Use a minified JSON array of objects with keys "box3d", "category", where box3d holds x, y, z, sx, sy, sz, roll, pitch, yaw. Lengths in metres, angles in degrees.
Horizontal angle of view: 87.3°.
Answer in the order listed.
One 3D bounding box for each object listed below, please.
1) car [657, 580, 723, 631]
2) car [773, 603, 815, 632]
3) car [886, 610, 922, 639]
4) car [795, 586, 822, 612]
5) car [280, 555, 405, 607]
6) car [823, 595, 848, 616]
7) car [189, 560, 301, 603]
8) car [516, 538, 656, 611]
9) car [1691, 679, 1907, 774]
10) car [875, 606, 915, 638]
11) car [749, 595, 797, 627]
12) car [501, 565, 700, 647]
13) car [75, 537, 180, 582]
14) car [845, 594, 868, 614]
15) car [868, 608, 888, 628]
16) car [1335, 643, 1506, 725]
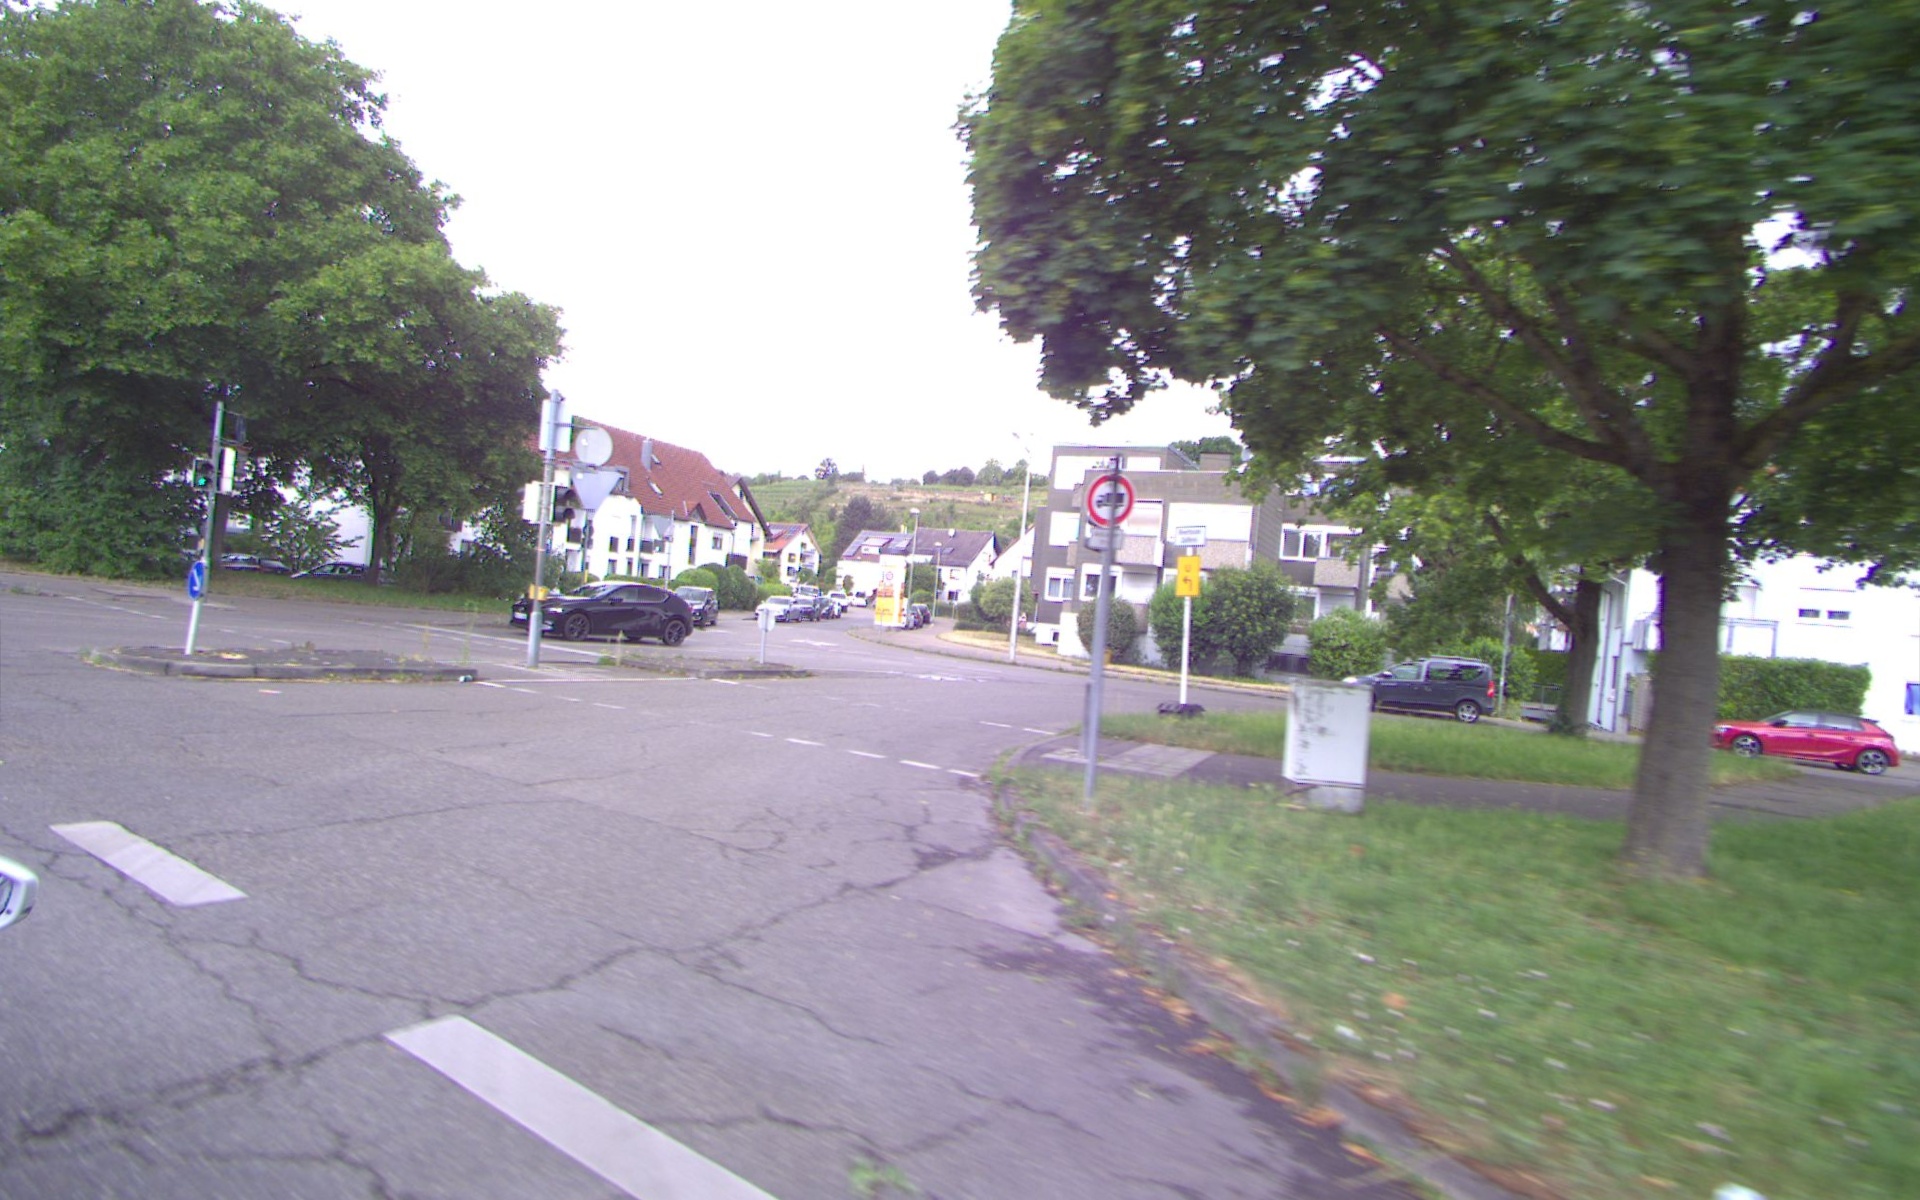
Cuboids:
[{"box3d":[-11.466,0.280,42.994,1.965,1.785,4.000,7,-3,-6],"category":"car"},{"box3d":[-10.691,1.159,65.081,1.963,1.442,4.473,7,-3,-1],"category":"car"},{"box3d":[-3.496,1.522,63.299,1.963,1.536,4.000,7,-1,-1],"category":"car"},{"box3d":[-14.169,-0.110,94.123,1.964,2.151,4.466,6,-1,-4],"category":"car"},{"box3d":[-24.128,-0.739,39.345,4.208,1.478,1.667,6,-3,16],"category":"car"},{"box3d":[-11.988,0.537,97.284,1.964,1.774,4.466,6,-1,-4],"category":"car"},{"box3d":[-29.279,-0.756,41.207,3.785,1.260,1.629,6,-3,16],"category":"car"},{"box3d":[-12.956,-0.875,34.932,3.975,2.038,1.976,7,-1,-44],"category":"car"},{"box3d":[21.397,3.196,25.862,3.855,1.863,1.621,5,-3,27],"category":"car"},{"box3d":[-3.706,1.269,57.827,1.963,1.536,4.000,7,-1,-1],"category":"car"},{"box3d":[-10.734,0.683,58.057,1.963,1.442,4.472,7,-3,-2],"category":"car"},{"box3d":[-8.387,0.188,23.794,1.678,1.544,4.153,5,-1,35],"category":"car"},{"box3d":[-35.380,-1.718,42.751,3.767,1.402,1.485,6,-3,17],"category":"car"},{"box3d":[-13.647,0.502,132.281,2.374,2.264,4.461,6,-1,-10],"category":"car"},{"box3d":[-9.888,2.119,120.743,1.965,2.151,4.464,6,-1,-7],"category":"car"},{"box3d":[13.522,2.456,29.710,4.330,1.863,1.723,5,-3,26],"category":"car"}]
